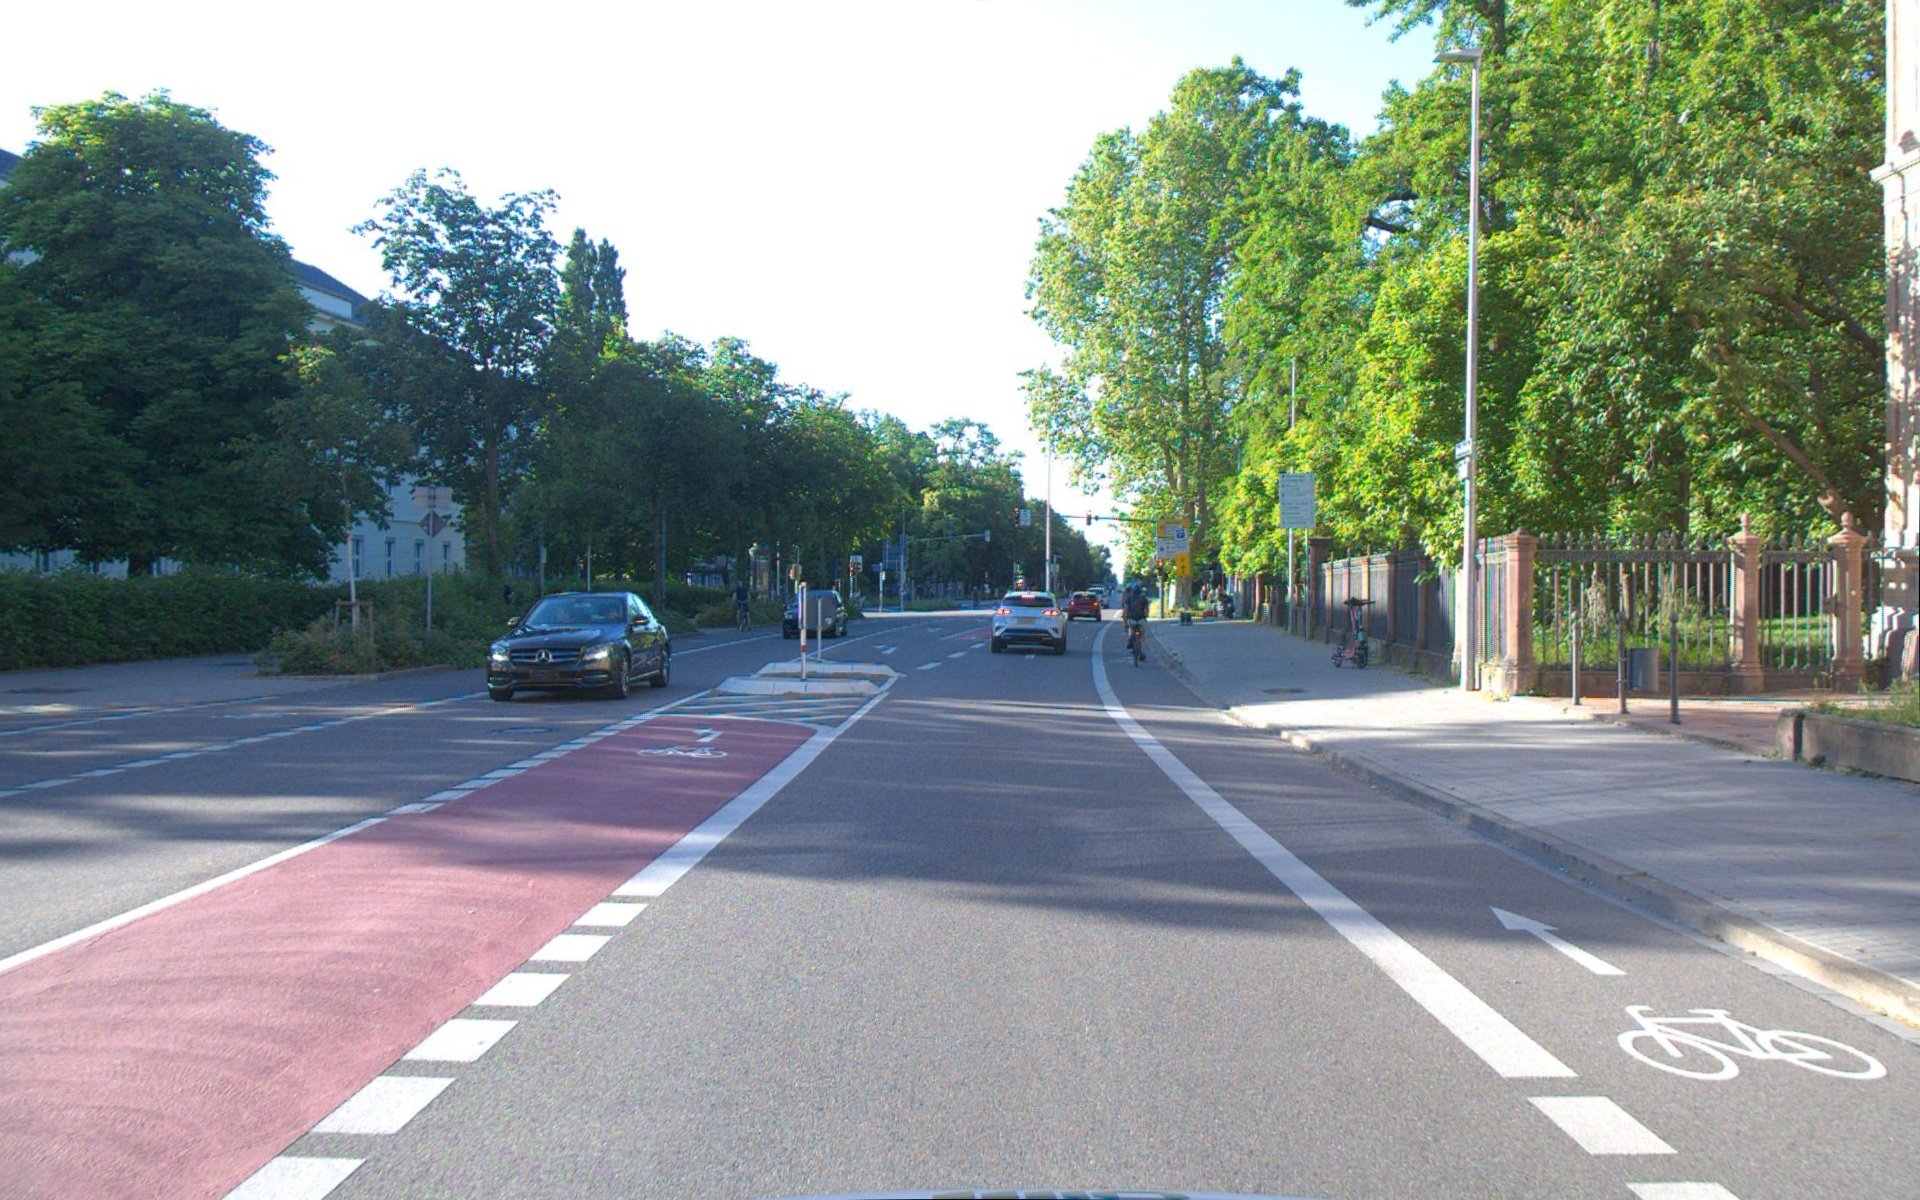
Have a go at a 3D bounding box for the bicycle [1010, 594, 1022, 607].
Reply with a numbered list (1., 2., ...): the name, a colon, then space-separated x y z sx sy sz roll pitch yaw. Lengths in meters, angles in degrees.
1. bicycle: 5.377 0.035 158.649 0.943 1.201 2.953 -1 0 8

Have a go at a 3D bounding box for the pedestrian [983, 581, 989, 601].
1. pedestrian: 2.801 -0.957 177.060 0.643 2.049 0.832 -1 0 3

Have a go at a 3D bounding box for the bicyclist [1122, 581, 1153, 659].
1. bicyclist: 3.815 0.414 35.549 0.622 1.642 1.285 1 0 5

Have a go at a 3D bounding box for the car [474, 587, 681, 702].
1. car: -5.226 0.544 23.240 1.774 1.444 4.555 0 0 1

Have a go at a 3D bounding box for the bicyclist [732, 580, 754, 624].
1. bicyclist: -7.947 0.061 60.556 0.616 1.549 0.725 -3 0 3

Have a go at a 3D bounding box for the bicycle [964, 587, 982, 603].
1. bicycle: 1.060 -0.412 132.526 1.078 1.277 2.781 -1 0 8

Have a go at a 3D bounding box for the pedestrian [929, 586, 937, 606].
1. pedestrian: -2.549 -0.391 156.159 0.637 1.921 0.663 -1 0 8

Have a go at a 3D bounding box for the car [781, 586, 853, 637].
1. car: -4.348 0.333 50.809 1.721 1.484 4.001 0 0 2

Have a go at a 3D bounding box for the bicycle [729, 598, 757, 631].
1. bicycle: -7.936 0.522 60.470 0.584 1.140 2.028 -3 0 3

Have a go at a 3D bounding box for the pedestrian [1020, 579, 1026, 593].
1. pedestrian: 9.918 -2.272 260.309 0.857 2.187 1.104 -1 0 15

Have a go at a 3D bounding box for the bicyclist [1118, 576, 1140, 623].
1. bicyclist: 5.753 -0.027 56.411 0.731 1.564 0.970 1 0 5

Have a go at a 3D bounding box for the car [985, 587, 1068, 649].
1. car: 1.725 0.423 41.833 1.951 1.478 4.002 -1 0 4

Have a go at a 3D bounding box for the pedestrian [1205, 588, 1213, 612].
1. pedestrian: 17.427 -0.012 115.848 0.472 1.668 0.432 -3 3 12

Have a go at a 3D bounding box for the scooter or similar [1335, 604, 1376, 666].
1. scooter or similar: 7.432 0.649 31.124 0.470 1.142 1.336 -1 0 1

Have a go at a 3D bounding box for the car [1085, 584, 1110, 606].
1. car: 10.421 -0.397 124.906 1.700 1.573 4.003 0 1 7

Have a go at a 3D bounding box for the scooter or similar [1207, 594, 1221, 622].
1. scooter or similar: 13.137 0.416 85.595 0.554 1.407 1.857 -1 0 4

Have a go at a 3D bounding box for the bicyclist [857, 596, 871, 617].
1. bicyclist: -7.192 0.501 124.176 0.902 1.535 0.507 0 0 13

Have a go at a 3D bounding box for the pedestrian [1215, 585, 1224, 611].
1. pedestrian: 18.282 -0.138 116.588 0.472 1.823 0.432 -3 3 12

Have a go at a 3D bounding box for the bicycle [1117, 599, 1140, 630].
1. bicycle: 5.747 0.499 56.409 0.737 1.044 1.870 1 -1 5

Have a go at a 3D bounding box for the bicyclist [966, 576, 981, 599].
1. bicyclist: 1.064 -0.985 132.558 1.069 1.785 1.098 -1 0 7

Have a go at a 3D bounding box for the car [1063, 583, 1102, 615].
1. car: 6.322 -0.066 85.224 1.888 1.560 4.003 -1 0 5

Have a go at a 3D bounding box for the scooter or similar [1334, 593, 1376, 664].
1. scooter or similar: 7.188 0.516 30.148 0.291 1.261 1.158 -1 0 -11

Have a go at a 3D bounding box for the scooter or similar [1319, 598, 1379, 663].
1. scooter or similar: 7.754 0.587 33.013 0.538 1.264 1.553 -1 0 -12

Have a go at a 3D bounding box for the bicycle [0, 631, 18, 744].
1. bicycle: -8.988 0.811 14.142 0.638 1.013 2.109 -1 0 0

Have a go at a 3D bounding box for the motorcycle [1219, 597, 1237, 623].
1. motorcycle: 12.761 0.483 78.819 0.648 1.188 2.329 -2 0 5

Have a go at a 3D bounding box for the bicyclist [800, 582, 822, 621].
1. bicyclist: -5.705 0.047 63.439 0.632 1.443 0.971 -3 0 3

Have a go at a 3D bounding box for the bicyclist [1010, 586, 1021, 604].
1. bicyclist: 5.360 -0.498 158.577 0.935 1.735 1.233 -1 0 7

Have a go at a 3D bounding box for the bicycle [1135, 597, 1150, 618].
1. bicycle: 9.555 0.392 86.830 0.737 1.044 1.870 1 -1 5

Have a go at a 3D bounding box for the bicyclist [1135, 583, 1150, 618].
1. bicyclist: 9.566 0.025 86.797 0.734 1.780 0.843 1 0 5

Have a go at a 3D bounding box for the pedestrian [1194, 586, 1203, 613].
1. pedestrian: 16.724 -0.030 115.850 0.472 1.823 0.432 -3 3 12

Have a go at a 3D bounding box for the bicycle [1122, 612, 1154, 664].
1. bicycle: 3.823 0.802 35.669 0.629 1.042 2.214 2 0 5

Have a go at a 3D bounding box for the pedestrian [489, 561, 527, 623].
1. pedestrian: -13.987 -0.253 51.209 0.838 1.884 1.002 -1 0 4

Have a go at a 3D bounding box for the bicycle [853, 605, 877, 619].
1. bicycle: -7.162 0.891 124.171 1.728 1.007 0.513 0 0 13
